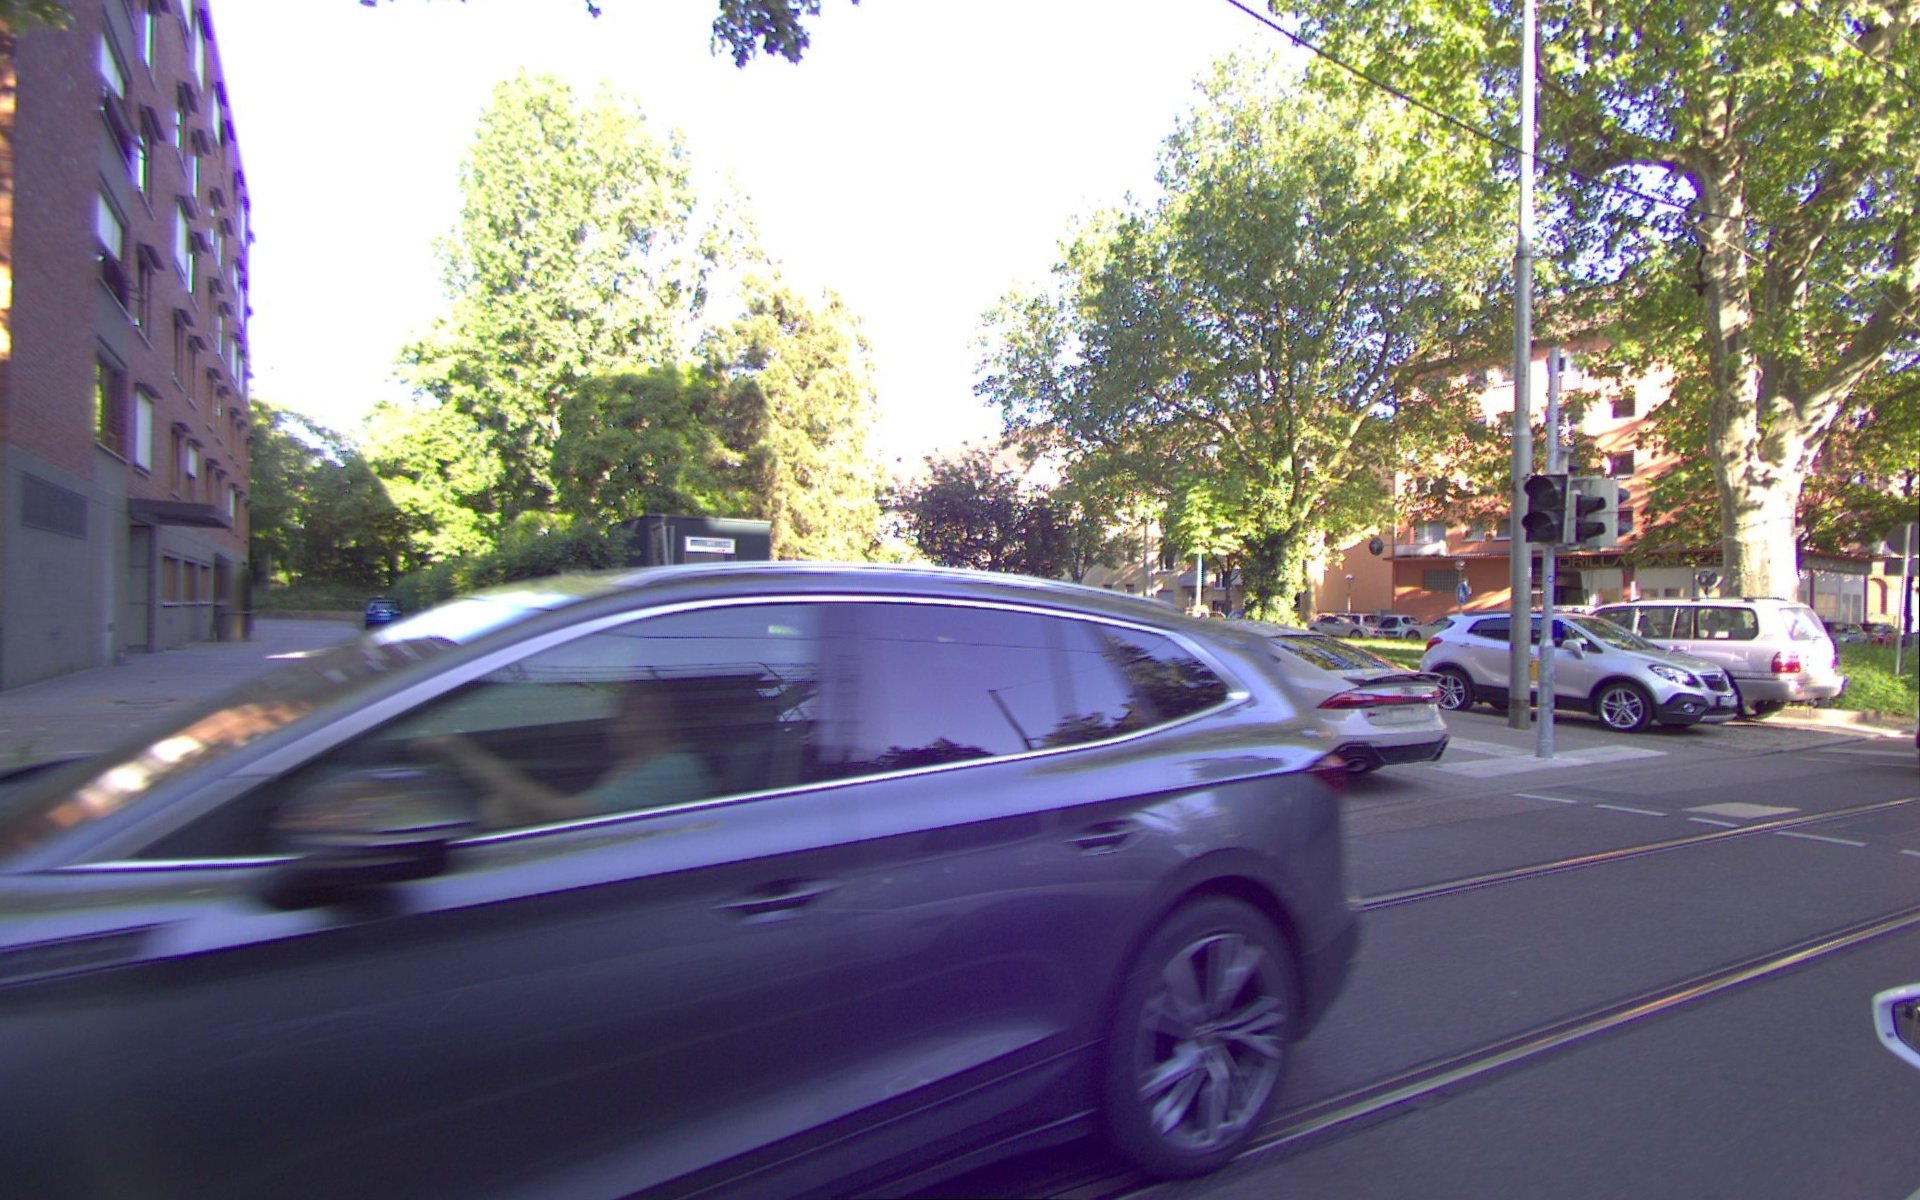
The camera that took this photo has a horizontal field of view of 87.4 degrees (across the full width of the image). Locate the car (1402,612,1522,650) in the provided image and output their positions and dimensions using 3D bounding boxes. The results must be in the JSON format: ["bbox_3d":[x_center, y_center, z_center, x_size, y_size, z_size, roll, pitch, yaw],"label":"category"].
[{"bbox_3d":[22.268,1.341,44.706,1.809,1.469,4.431,1,0,-39],"label":"car"}]

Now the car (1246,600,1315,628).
[{"bbox_3d":[19.873,0.895,62.210,4.446,1.639,1.928,1,0,-39],"label":"car"}]

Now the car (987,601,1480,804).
[{"bbox_3d":[2.471,0.821,10.312,1.936,1.480,4.732,1,0,-35],"label":"car"}]

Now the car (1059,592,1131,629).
[{"bbox_3d":[8.779,0.675,65.531,2.023,2.227,4.699,1,0,-34],"label":"car"}]

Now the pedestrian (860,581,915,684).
[{"bbox_3d":[-1.207,0.531,16.806,0.684,1.681,0.561,2,1,32],"label":"pedestrian"}]

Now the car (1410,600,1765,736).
[{"bbox_3d":[9.230,0.895,15.114,1.882,1.668,4.115,1,0,-33],"label":"car"}]

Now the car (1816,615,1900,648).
[{"bbox_3d":[42.580,1.495,47.621,3.849,1.426,1.937,1,0,-32],"label":"car"}]

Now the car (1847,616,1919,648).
[{"bbox_3d":[46.213,1.585,50.029,3.955,1.507,1.937,1,0,-32],"label":"car"}]

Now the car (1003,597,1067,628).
[{"bbox_3d":[5.244,0.887,71.071,1.980,2.040,4.699,1,0,-34],"label":"car"}]

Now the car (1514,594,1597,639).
[{"bbox_3d":[28.755,0.796,48.456,4.882,2.030,1.976,1,0,-41],"label":"car"}]

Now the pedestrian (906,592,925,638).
[{"bbox_3d":[-1.701,0.559,38.288,0.698,1.695,0.779,1,1,-3],"label":"pedestrian"}]

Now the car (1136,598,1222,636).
[{"bbox_3d":[12.742,0.966,58.750,1.983,2.040,4.690,1,0,-39],"label":"car"}]

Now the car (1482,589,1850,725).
[{"bbox_3d":[11.312,0.790,16.456,1.917,1.858,4.544,1,0,-33],"label":"car"}]

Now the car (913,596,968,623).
[{"bbox_3d":[-1.591,0.742,80.063,1.982,2.040,4.693,1,0,-38],"label":"car"}]

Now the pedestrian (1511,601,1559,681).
[{"bbox_3d":[13.570,0.953,23.705,0.742,1.834,0.641,1,1,-26],"label":"pedestrian"}]

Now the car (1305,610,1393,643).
[{"bbox_3d":[19.074,1.271,49.360,1.673,1.469,3.681,1,0,-36],"label":"car"}]

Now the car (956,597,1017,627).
[{"bbox_3d":[1.962,0.886,75.318,1.982,2.040,4.693,1,0,-38],"label":"car"}]

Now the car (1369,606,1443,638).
[{"bbox_3d":[24.737,1.232,55.690,4.446,1.639,1.928,1,0,-39],"label":"car"}]

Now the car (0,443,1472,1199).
[{"bbox_3d":[-0.695,0.671,2.759,4.274,1.659,1.897,1,-1,-33],"label":"car"}]

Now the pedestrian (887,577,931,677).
[{"bbox_3d":[-0.915,0.471,17.948,0.523,1.728,0.591,2,1,27],"label":"pedestrian"}]

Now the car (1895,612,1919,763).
[{"bbox_3d":[11.608,0.924,10.393,4.157,1.480,1.766,1,0,-32],"label":"car"}]

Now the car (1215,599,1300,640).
[{"bbox_3d":[15.960,1.036,54.021,1.983,2.040,3.954,1,0,-39],"label":"car"}]

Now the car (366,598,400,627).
[{"bbox_3d":[-31.048,0.645,54.054,1.539,1.444,3.609,1,0,-30],"label":"car"}]

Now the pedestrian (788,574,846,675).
[{"bbox_3d":[-2.582,0.434,18.078,0.900,1.760,0.843,1,1,-16],"label":"pedestrian"}]

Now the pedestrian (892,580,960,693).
[{"bbox_3d":[-0.534,0.551,15.659,0.770,1.695,0.705,1,1,-32],"label":"pedestrian"}]

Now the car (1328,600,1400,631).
[{"bbox_3d":[23.189,0.908,57.653,4.446,1.639,1.928,1,0,-39],"label":"car"}]
